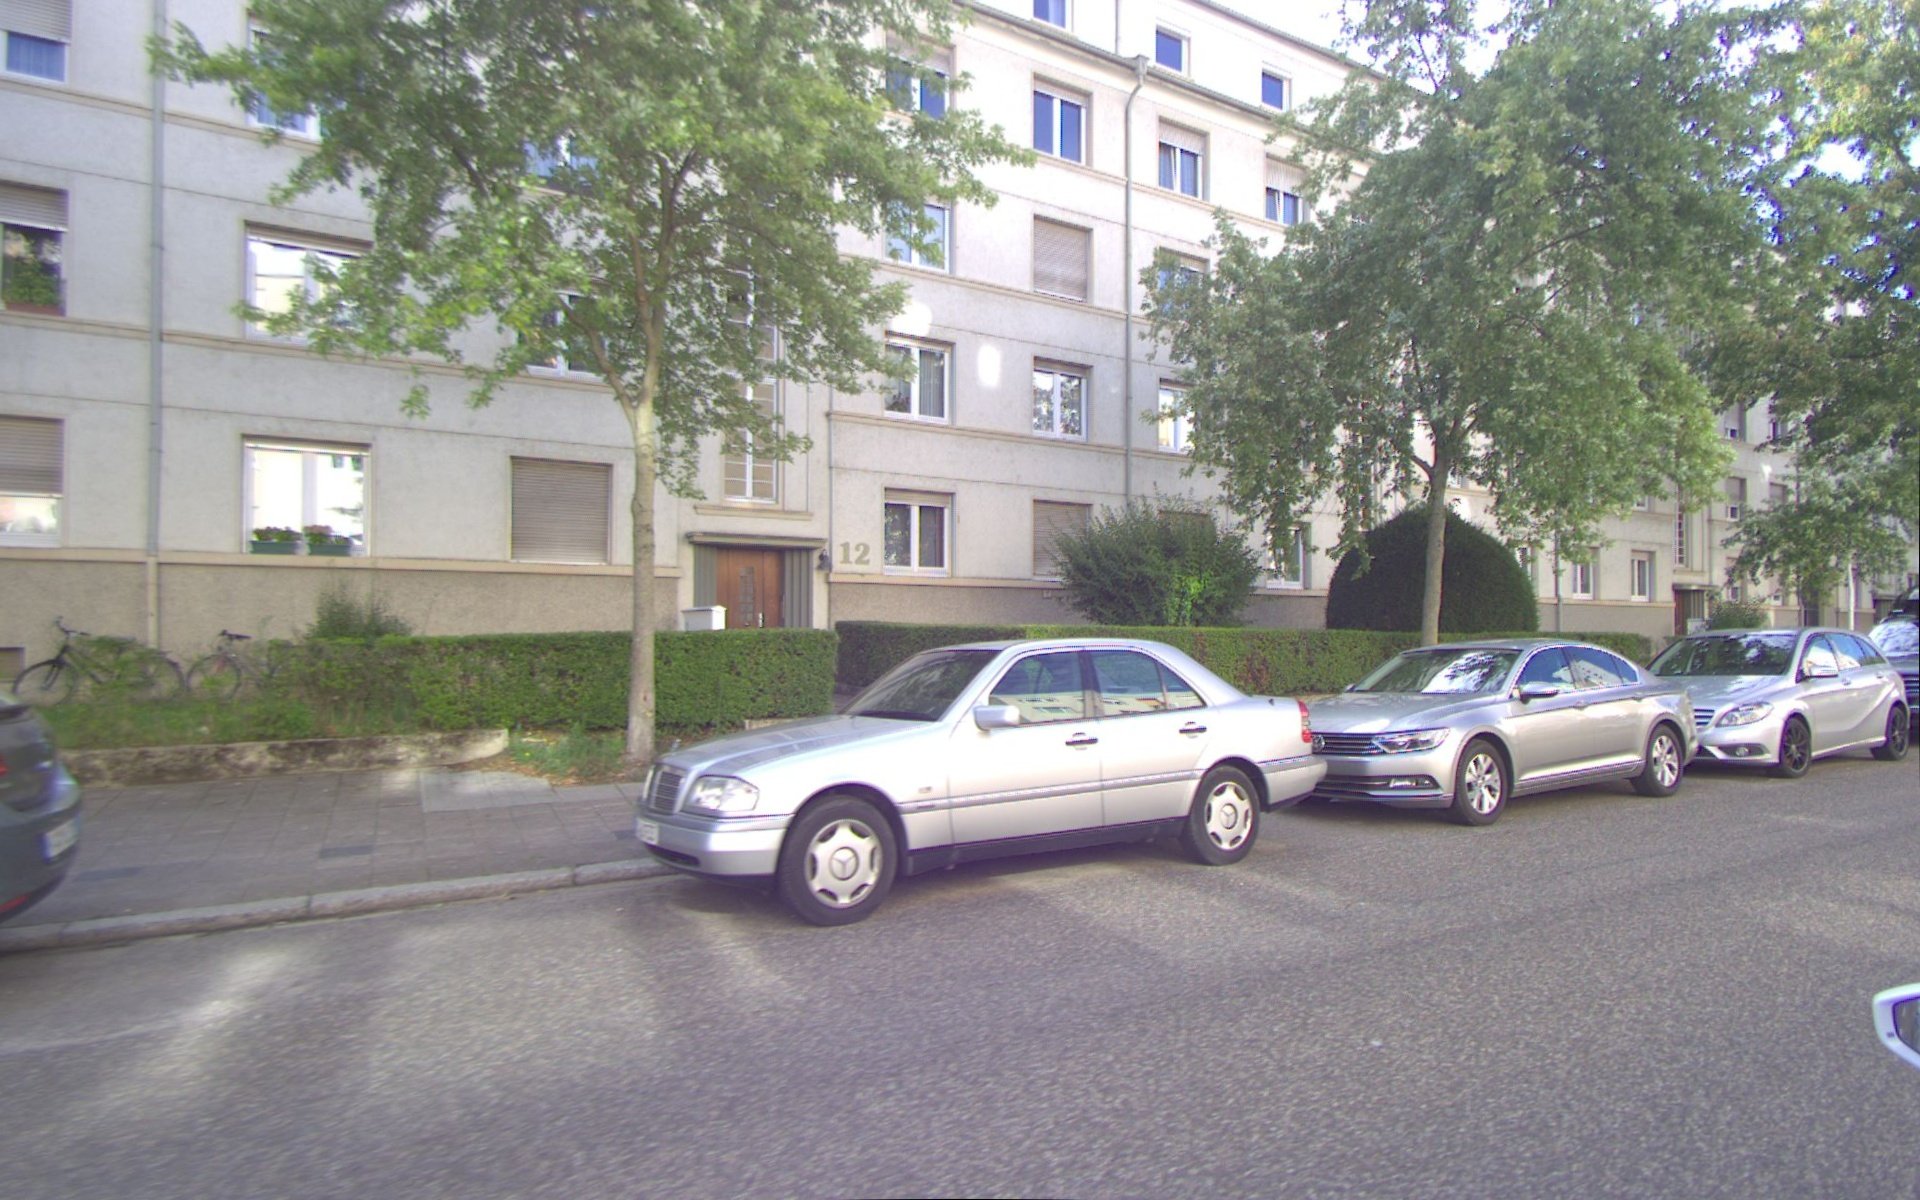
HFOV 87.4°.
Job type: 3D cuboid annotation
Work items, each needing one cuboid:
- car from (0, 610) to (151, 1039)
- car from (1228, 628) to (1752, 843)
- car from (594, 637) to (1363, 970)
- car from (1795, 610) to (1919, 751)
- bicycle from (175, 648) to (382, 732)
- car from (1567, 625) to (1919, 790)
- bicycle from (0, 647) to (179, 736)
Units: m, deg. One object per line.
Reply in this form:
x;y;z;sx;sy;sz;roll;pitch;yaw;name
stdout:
-5.701;0.797;3.188;4.631;1.505;1.846;1;-3;-32;car
4.899;1.056;9.098;4.886;1.505;1.847;1;-5;-30;car
0.272;0.984;6.309;4.612;1.411;1.730;1;-4;-31;car
14.302;1.098;14.532;4.914;1.816;1.868;1;-4;-31;car
-9.588;1.241;14.267;2.377;1.074;0.631;1;-1;-31;bicycle
9.276;1.122;11.667;4.406;1.594;1.848;1;-3;-29;car
-11.514;1.170;13.114;2.000;1.074;0.631;1;-1;-31;bicycle
